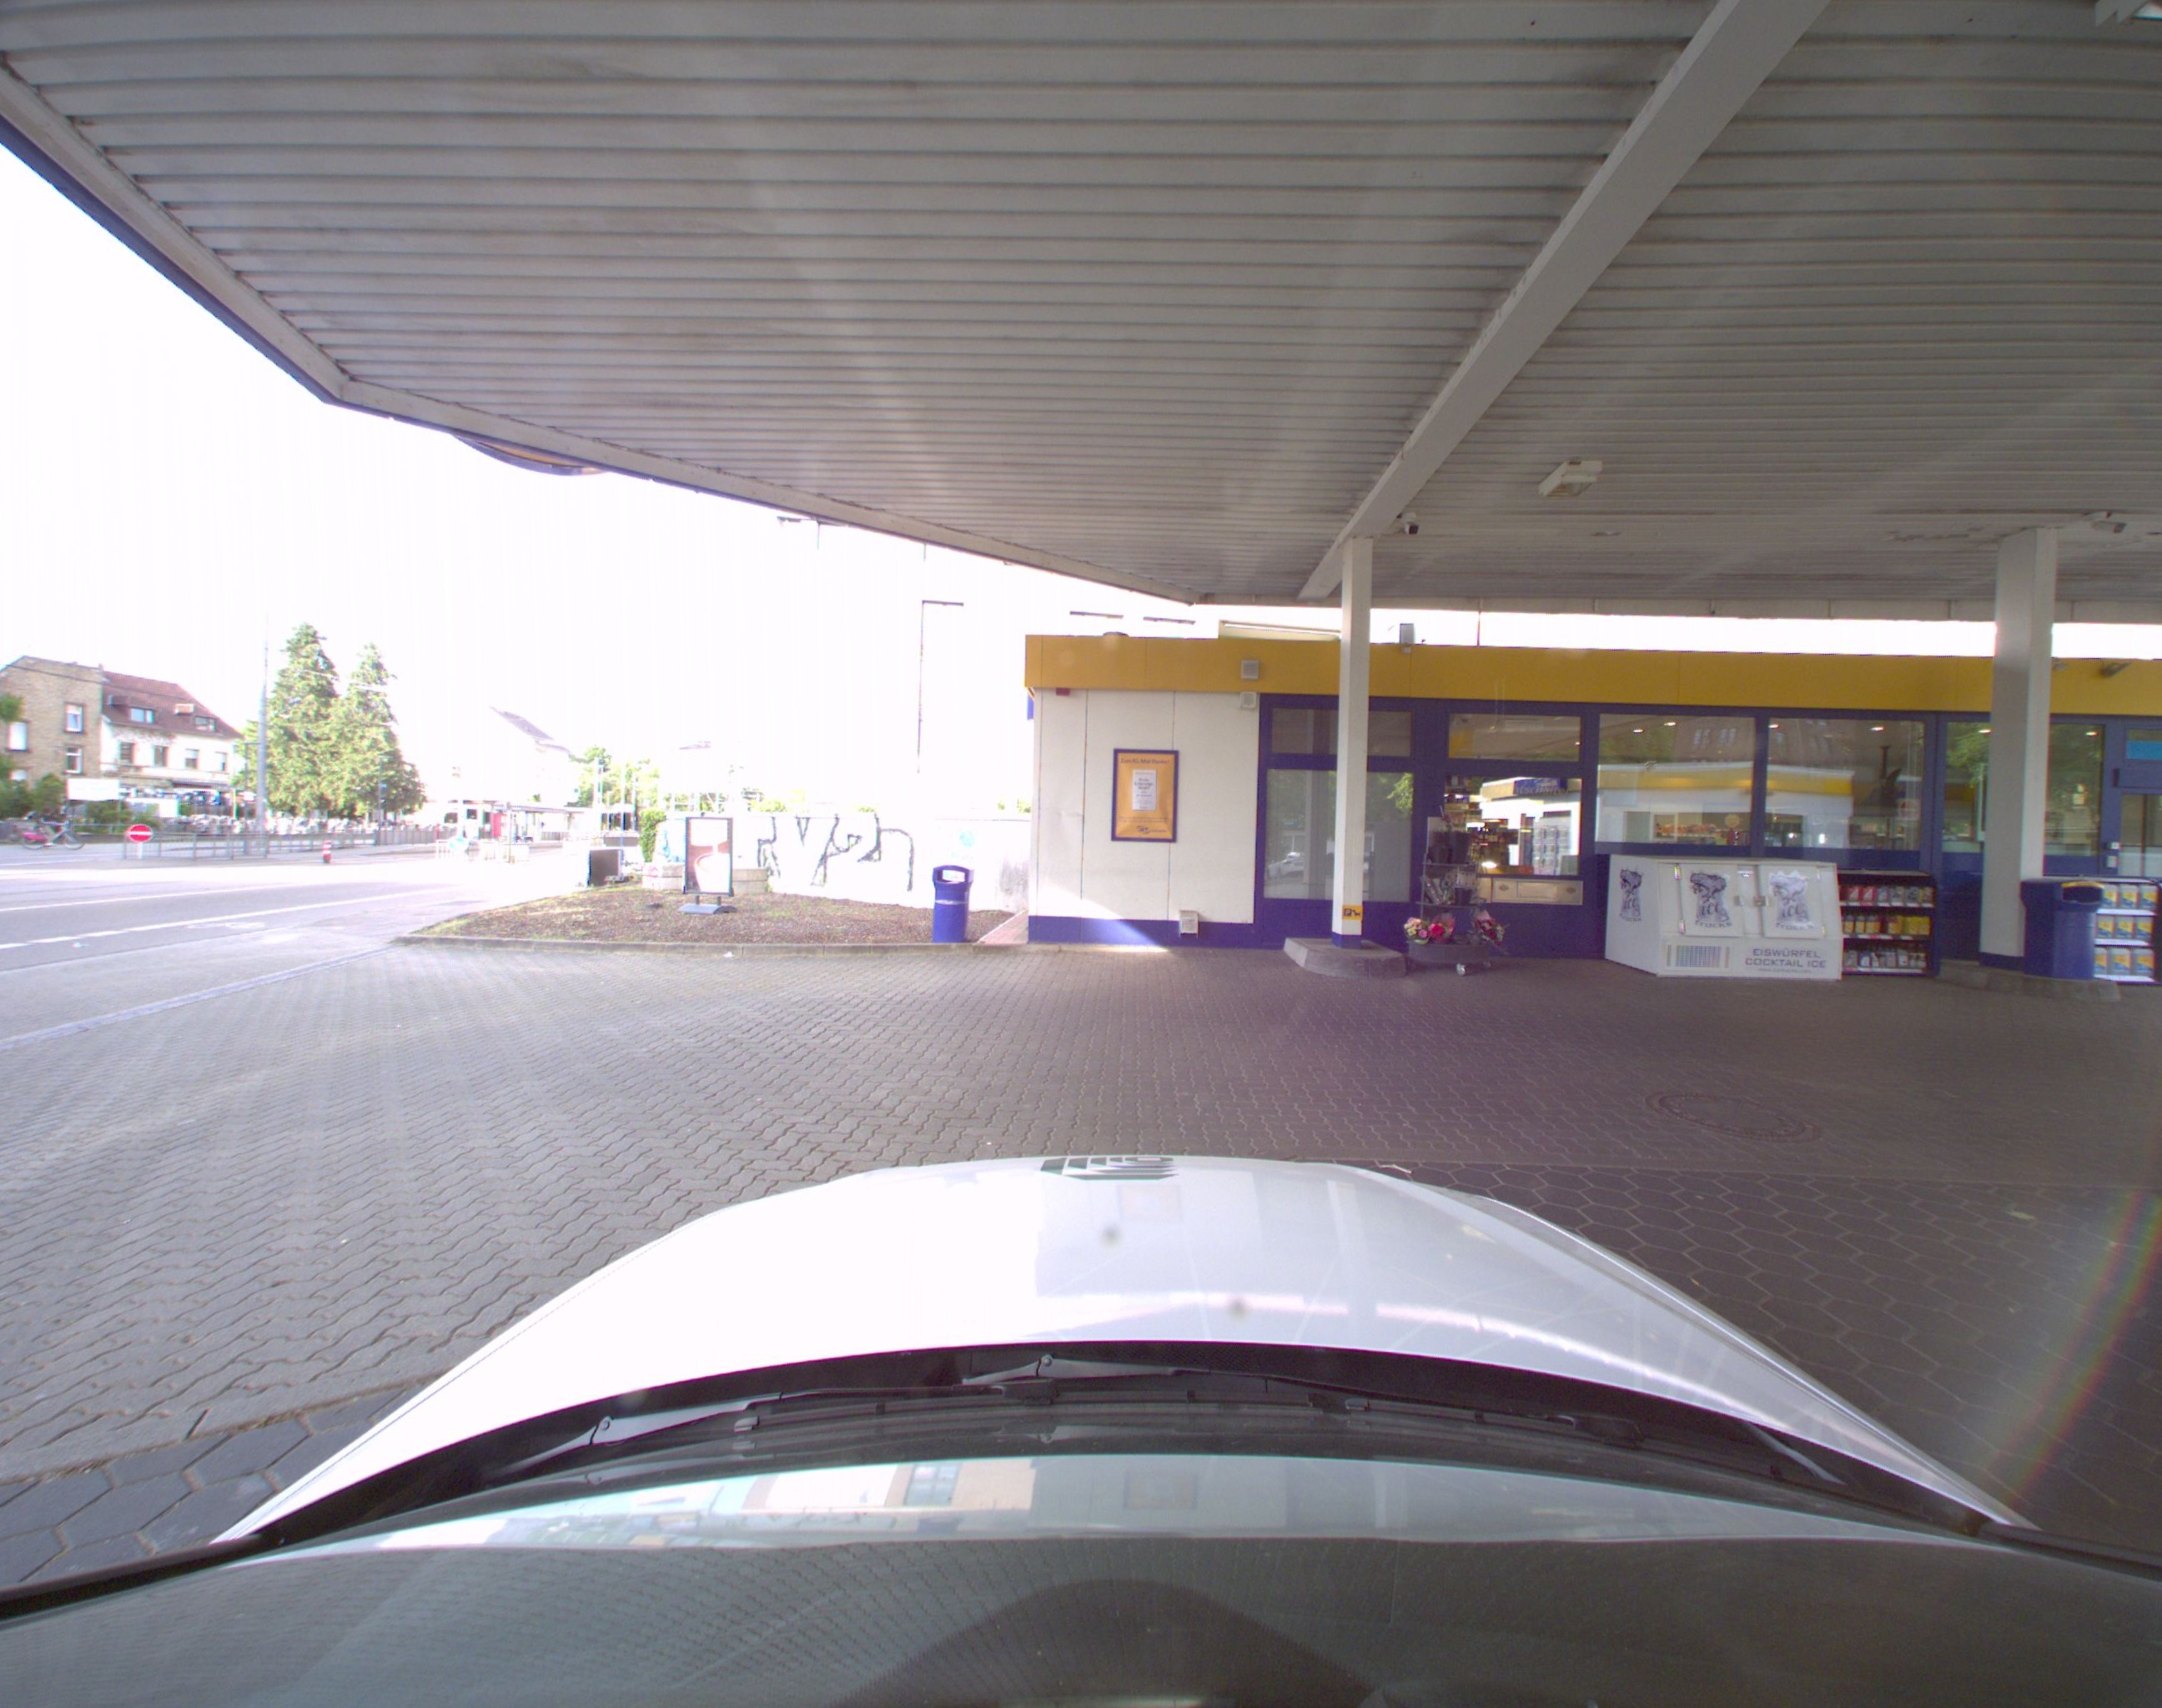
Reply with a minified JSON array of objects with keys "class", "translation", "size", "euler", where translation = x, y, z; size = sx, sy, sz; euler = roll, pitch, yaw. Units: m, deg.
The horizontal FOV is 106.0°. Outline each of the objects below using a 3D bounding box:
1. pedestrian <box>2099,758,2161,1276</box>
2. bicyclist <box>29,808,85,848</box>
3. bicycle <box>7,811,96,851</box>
[{"class":"pedestrian","translation":[4.346,0.580,2.789],"size":[0.985,1.815,0.798],"euler":[1,1,-21]},{"class":"bicyclist","translation":[-41.208,-1.036,32.792],"size":[0.781,1.492,1.099],"euler":[4,0,11]},{"class":"bicycle","translation":[-41.242,-0.903,32.658],"size":[0.781,1.492,1.998],"euler":[4,0,12]}]
